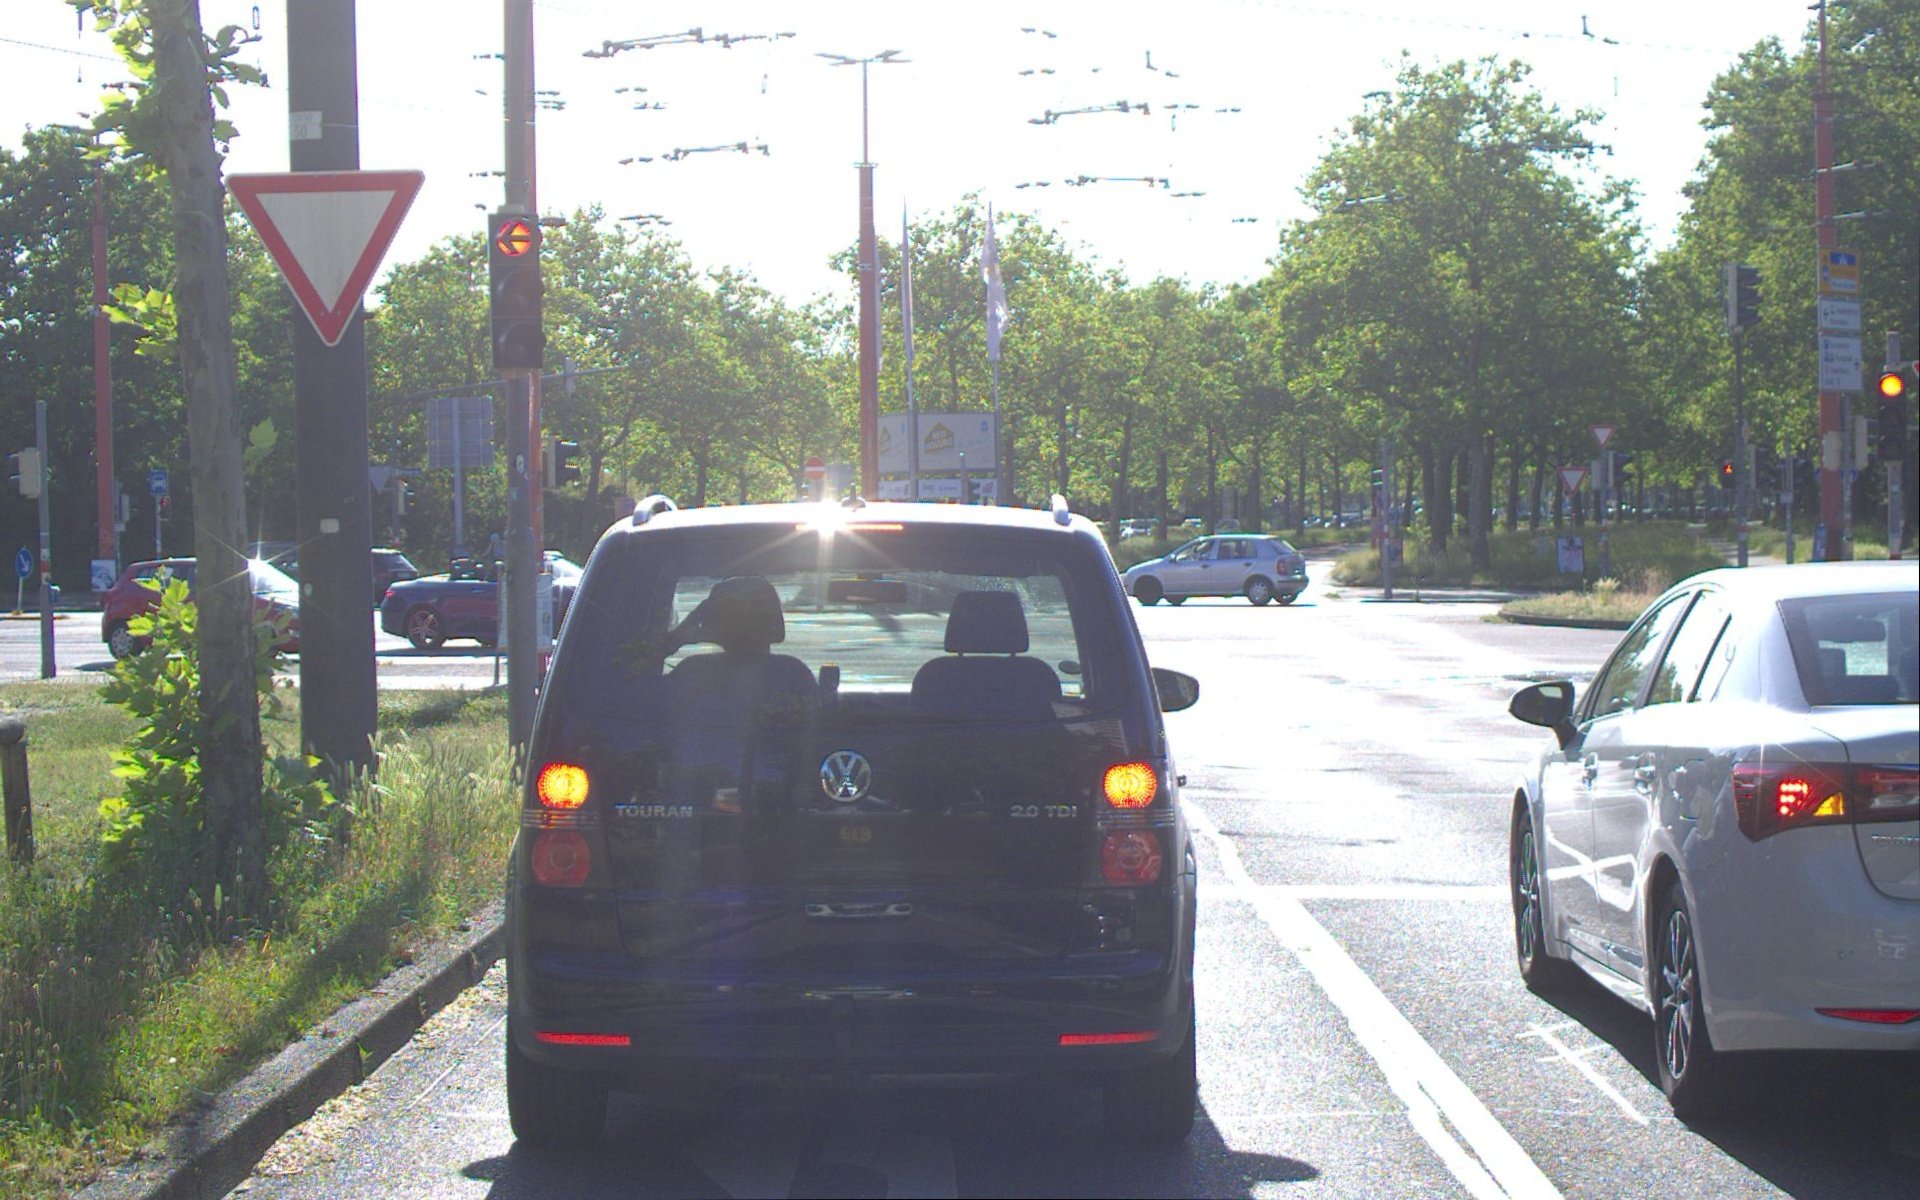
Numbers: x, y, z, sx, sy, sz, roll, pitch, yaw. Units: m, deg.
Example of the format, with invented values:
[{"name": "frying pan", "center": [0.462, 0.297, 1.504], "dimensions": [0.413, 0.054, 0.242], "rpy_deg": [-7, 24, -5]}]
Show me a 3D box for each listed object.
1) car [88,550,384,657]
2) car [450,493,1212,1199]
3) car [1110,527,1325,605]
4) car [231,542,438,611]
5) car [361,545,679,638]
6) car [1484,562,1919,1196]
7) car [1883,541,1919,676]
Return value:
[{"name": "car", "center": [-10.541, 0.036, 50.040], "dimensions": [3.993, 1.489, 1.769], "rpy_deg": [0, 1, 27]}, {"name": "car", "center": [-0.316, 0.545, 9.882], "dimensions": [1.737, 1.635, 4.000], "rpy_deg": [0, 1, -1]}, {"name": "car", "center": [5.350, -0.715, 71.443], "dimensions": [3.993, 1.575, 1.997], "rpy_deg": [0, 1, 27]}, {"name": "car", "center": [-14.722, -0.561, 80.913], "dimensions": [4.459, 1.590, 1.997], "rpy_deg": [0, 1, 26]}, {"name": "car", "center": [-6.716, -0.150, 52.337], "dimensions": [4.660, 1.358, 1.769], "rpy_deg": [0, 1, 29]}, {"name": "car", "center": [2.687, 0.629, 10.083], "dimensions": [1.715, 1.449, 4.144], "rpy_deg": [0, 1, 1]}, {"name": "car", "center": [12.781, 0.086, 37.869], "dimensions": [4.762, 1.489, 1.768], "rpy_deg": [0, 1, 30]}]
